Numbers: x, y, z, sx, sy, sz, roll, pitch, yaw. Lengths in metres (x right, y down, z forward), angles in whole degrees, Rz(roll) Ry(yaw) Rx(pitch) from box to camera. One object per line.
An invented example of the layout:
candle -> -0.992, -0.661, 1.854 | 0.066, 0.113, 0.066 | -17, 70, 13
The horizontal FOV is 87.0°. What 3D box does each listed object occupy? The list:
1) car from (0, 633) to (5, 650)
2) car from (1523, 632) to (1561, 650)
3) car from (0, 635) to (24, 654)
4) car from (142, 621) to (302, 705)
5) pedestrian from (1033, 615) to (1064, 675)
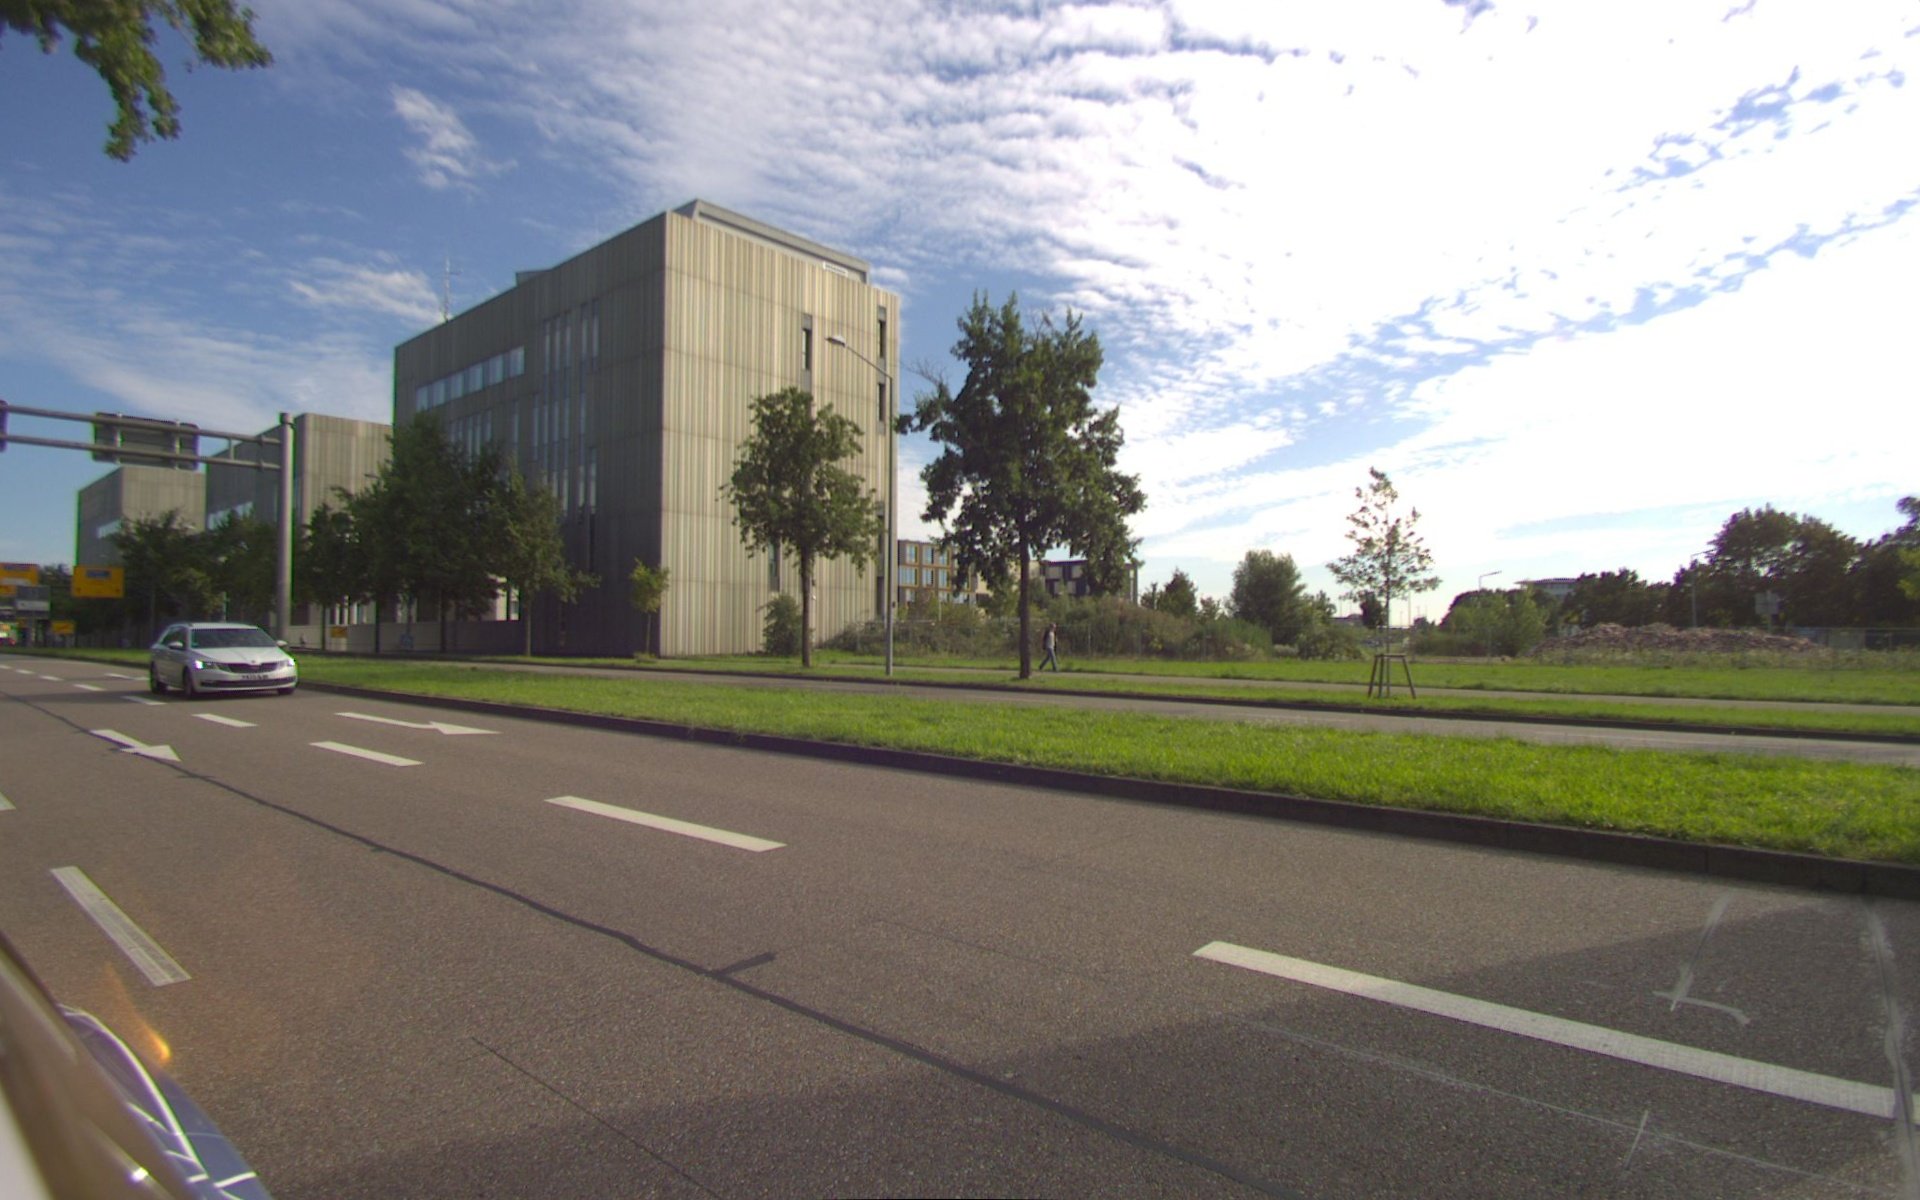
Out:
car -> -116.289, 4.999, 121.441 | 3.981, 2.029, 1.973 | -2, -3, 41
car -> 65.952, 4.685, 114.733 | 1.973, 2.029, 3.997 | 0, -2, 2
car -> -104.557, 4.892, 111.192 | 3.998, 2.029, 1.973 | -2, -3, 41
car -> -15.058, 1.199, 20.560 | 4.479, 1.510, 1.681 | -1, -1, 41
pedestrian -> 3.059, 1.555, 34.988 | 0.867, 2.029, 0.667 | -2, -3, 41
